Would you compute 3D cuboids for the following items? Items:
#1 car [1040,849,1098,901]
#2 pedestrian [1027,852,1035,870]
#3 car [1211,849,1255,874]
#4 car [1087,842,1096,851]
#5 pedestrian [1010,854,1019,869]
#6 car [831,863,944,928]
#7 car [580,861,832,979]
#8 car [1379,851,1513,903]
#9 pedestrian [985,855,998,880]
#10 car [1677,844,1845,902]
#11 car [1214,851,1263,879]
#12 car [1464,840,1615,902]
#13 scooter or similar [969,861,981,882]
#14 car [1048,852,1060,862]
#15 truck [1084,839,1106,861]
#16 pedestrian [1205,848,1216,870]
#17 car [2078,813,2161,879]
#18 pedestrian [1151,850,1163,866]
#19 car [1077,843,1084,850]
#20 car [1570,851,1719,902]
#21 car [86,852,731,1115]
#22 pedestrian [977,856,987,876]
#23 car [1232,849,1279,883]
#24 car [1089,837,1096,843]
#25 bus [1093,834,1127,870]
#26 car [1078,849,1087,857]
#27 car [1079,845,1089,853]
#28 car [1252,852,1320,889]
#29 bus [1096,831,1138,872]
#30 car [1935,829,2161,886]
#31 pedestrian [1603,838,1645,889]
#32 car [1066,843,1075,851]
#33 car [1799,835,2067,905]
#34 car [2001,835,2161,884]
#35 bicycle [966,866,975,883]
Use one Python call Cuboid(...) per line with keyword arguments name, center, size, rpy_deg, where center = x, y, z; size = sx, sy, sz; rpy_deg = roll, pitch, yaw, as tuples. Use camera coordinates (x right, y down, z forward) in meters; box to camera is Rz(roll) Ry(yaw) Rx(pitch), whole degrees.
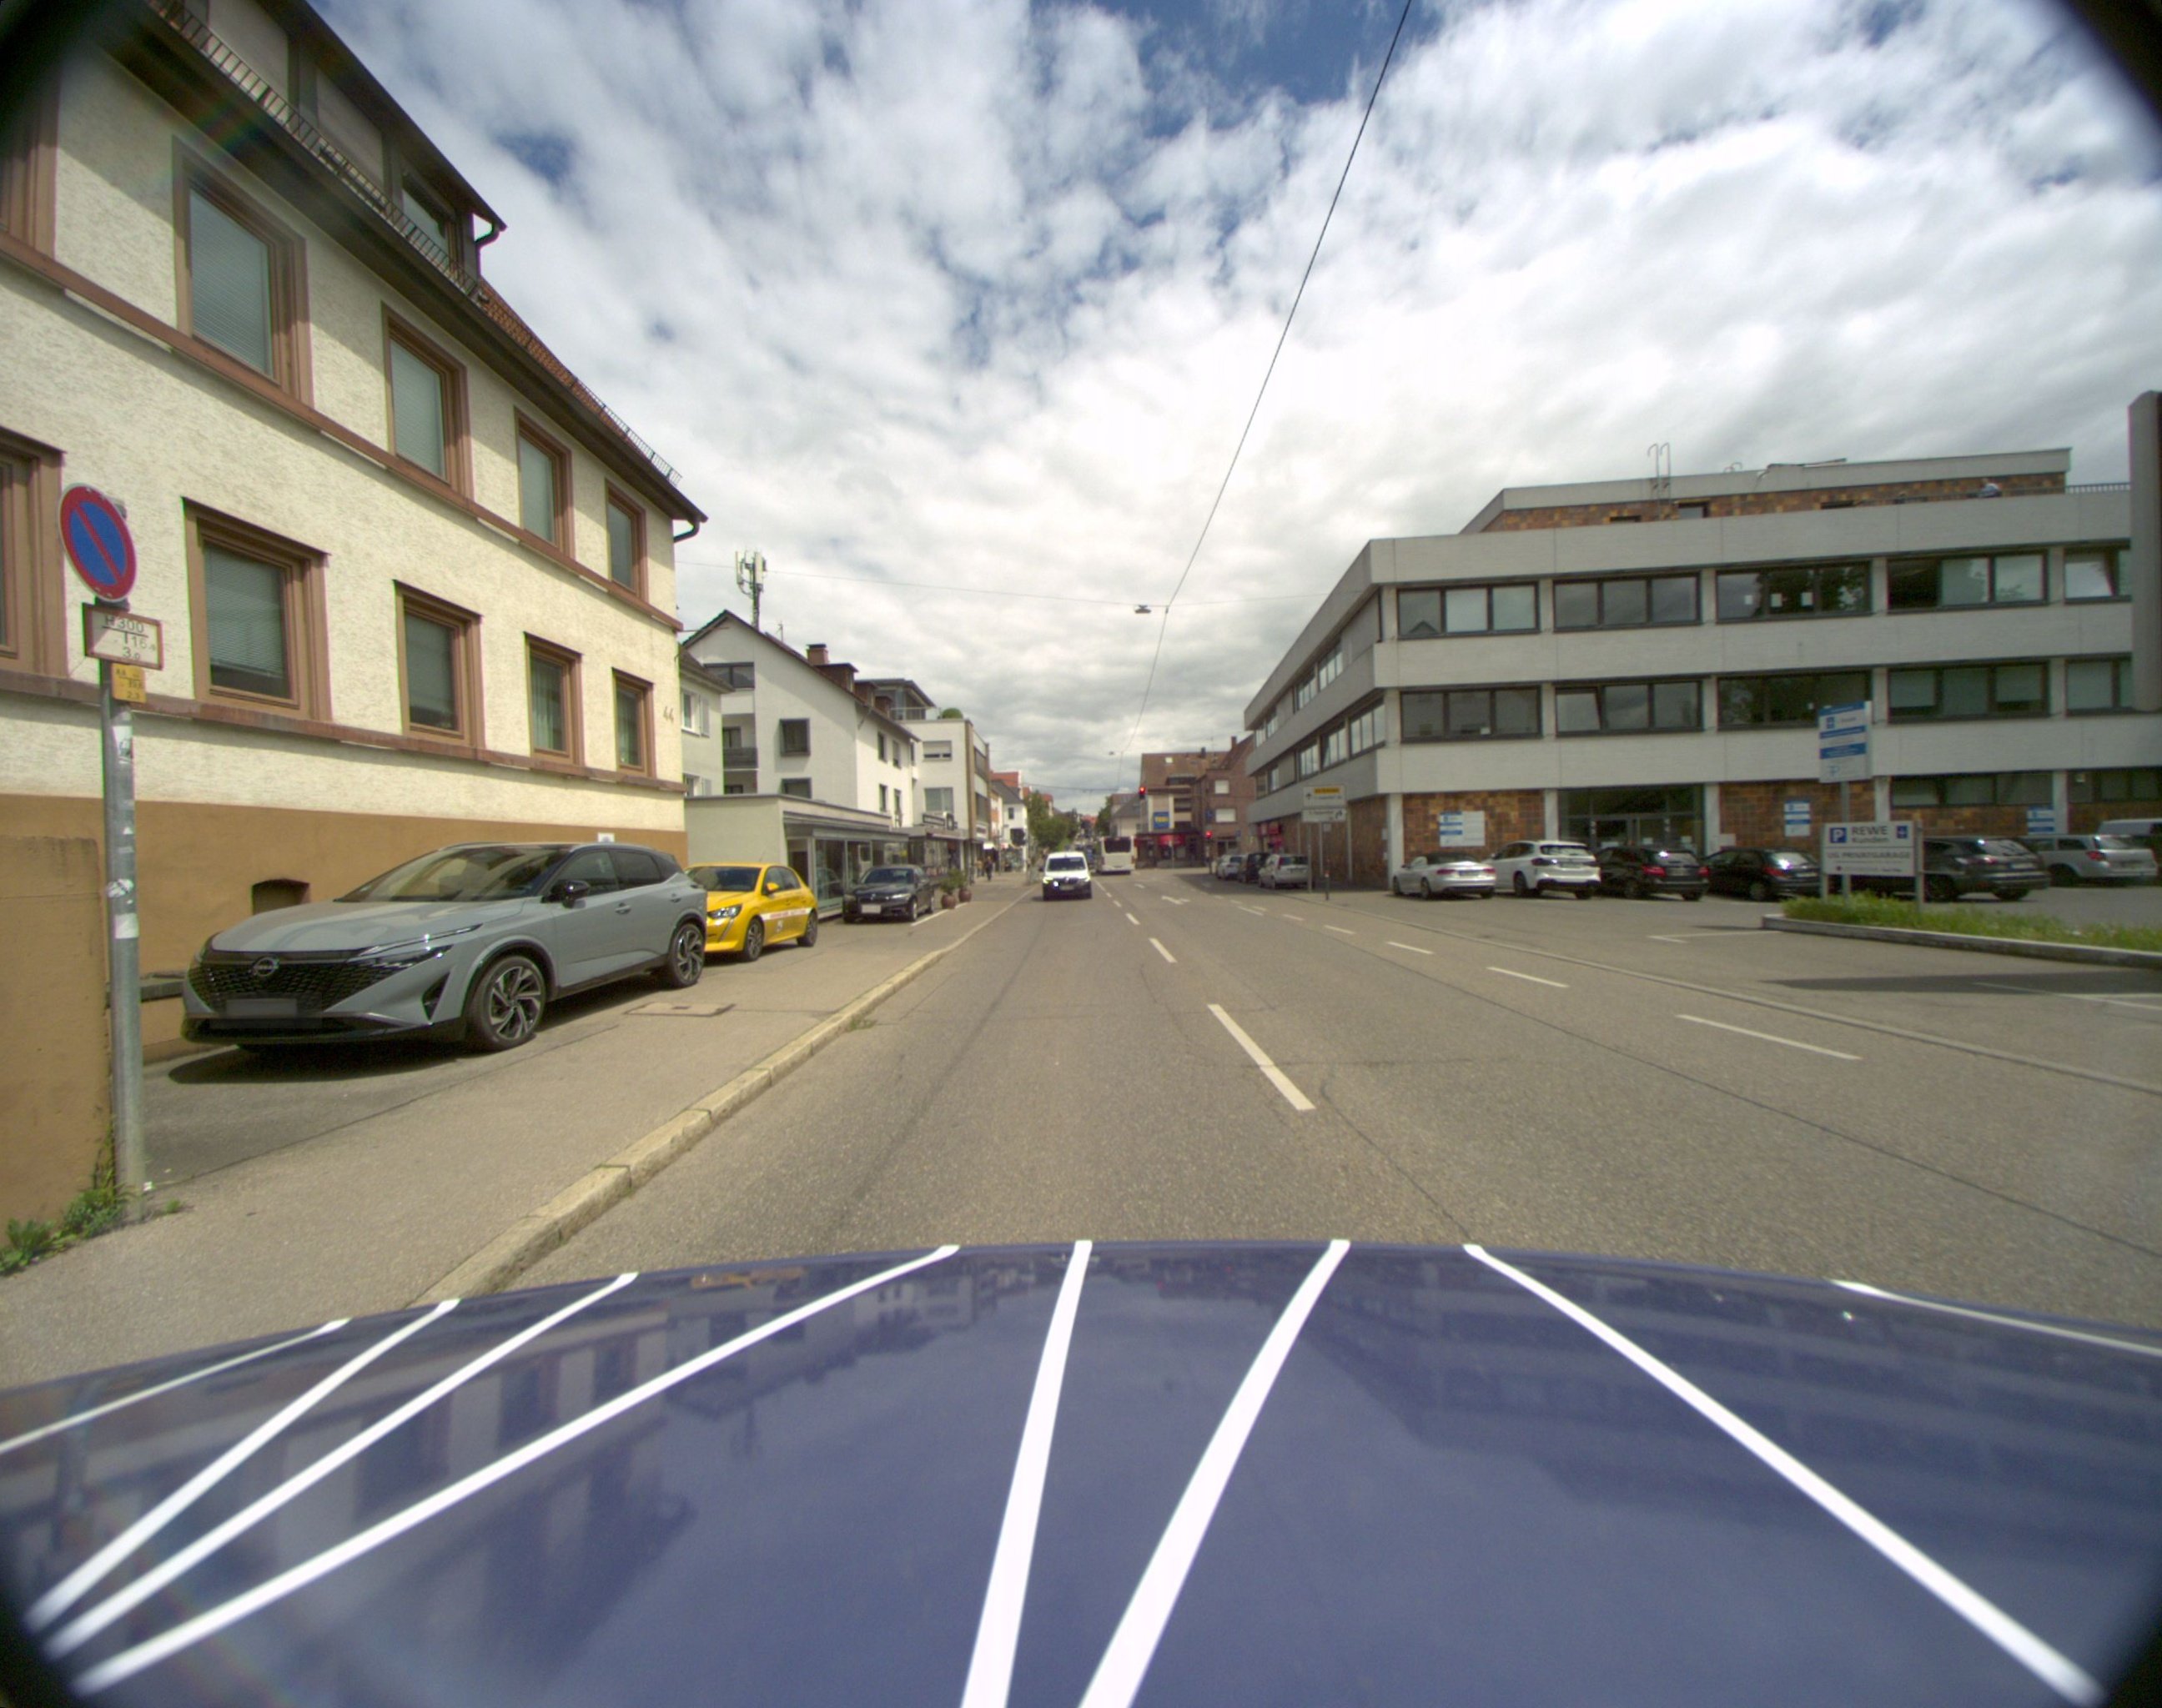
Cuboid(name="car", center=(-0.525, 0.748, 29.605), size=(2.000, 1.797, 4.764), rpy_deg=(-3, 0, -2))
Cuboid(name="pedestrian", center=(-5.249, 0.716, 79.483), size=(0.581, 1.820, 0.882), rpy_deg=(0, 1, 16))
Cuboid(name="car", center=(9.891, 0.481, 49.620), size=(2.049, 1.467, 4.285), rpy_deg=(-3, 0, 1))
Cuboid(name="car", center=(2.629, -1.943, 194.666), size=(2.111, 2.109, 4.765), rpy_deg=(-2, 0, -1))
Cuboid(name="pedestrian", center=(-6.913, 0.792, 78.639), size=(0.779, 1.517, 0.819), rpy_deg=(-1, 0, 2))
Cuboid(name="car", center=(-4.995, 1.018, 20.267), size=(1.973, 1.439, 4.534), rpy_deg=(-1, 0, -2))
Cuboid(name="car", center=(-5.445, 0.911, 11.756), size=(1.882, 1.438, 4.308), rpy_deg=(-1, -2, -2))
Cuboid(name="car", center=(10.874, 0.620, 23.084), size=(1.955, 1.350, 4.856), rpy_deg=(-2, 0, 4))
Cuboid(name="pedestrian", center=(-6.142, 0.907, 52.156), size=(0.797, 1.661, 0.807), rpy_deg=(-1, 1, -1))
Cuboid(name="car", center=(19.712, 0.510, 22.241), size=(1.767, 1.537, 3.605), rpy_deg=(-1, 0, 2))
Cuboid(name="car", center=(9.077, 0.595, 44.182), size=(2.049, 1.436, 4.953), rpy_deg=(-3, 0, 3))
Cuboid(name="car", center=(13.498, 0.459, 22.782), size=(1.955, 1.610, 4.932), rpy_deg=(1, 0, 6))
Cuboid(name="scooter or similar", center=(-6.799, 1.110, 48.739), size=(0.690, 1.260, 1.184), rpy_deg=(-1, 1, -12))
Cuboid(name="car", center=(-4.654, 0.564, 132.627), size=(1.999, 1.654, 4.000), rpy_deg=(-1, 0, 0))
Cuboid(name="truck", center=(2.053, -0.590, 115.071), size=(2.861, 3.075, 8.086), rpy_deg=(-2, 0, -3))
Cuboid(name="pedestrian", center=(9.710, 0.388, 57.031), size=(0.719, 1.635, 0.682), rpy_deg=(-3, 0, 5))
Cuboid(name="car", center=(32.382, -0.265, 21.484), size=(1.972, 1.930, 5.090), rpy_deg=(-2, 0, 6))
Cuboid(name="pedestrian", center=(8.056, 0.418, 80.348), size=(0.908, 1.713, 0.849), rpy_deg=(-2, 1, -42))
Cuboid(name="car", center=(-0.038, -1.944, 197.893), size=(1.819, 1.919, 4.112), rpy_deg=(-1, 0, 0))
Cuboid(name="car", center=(16.343, 0.608, 22.286), size=(1.767, 1.323, 3.605), rpy_deg=(-1, 0, 2))
Cuboid(name="car", center=(-5.180, 0.800, 6.967), size=(1.865, 1.602, 4.585), rpy_deg=(0, 0, -1))
Cuboid(name="pedestrian", center=(-7.544, 0.923, 57.920), size=(0.681, 1.490, 0.720), rpy_deg=(-1, 1, -1))
Cuboid(name="car", center=(8.783, 0.572, 38.417), size=(1.740, 1.547, 3.057), rpy_deg=(-3, 0, 3))
Cuboid(name="car", center=(3.954, -4.911, 263.761), size=(1.982, 1.985, 5.027), rpy_deg=(-1, 0, -2))
Cuboid(name="bus", center=(2.678, -0.216, 72.612), size=(2.689, 3.145, 10.183), rpy_deg=(-1, 0, -1))
Cuboid(name="car", center=(0.348, -0.146, 157.994), size=(1.681, 1.626, 2.833), rpy_deg=(-1, 0, -2))
Cuboid(name="car", center=(0.699, -1.211, 176.421), size=(1.954, 1.866, 4.875), rpy_deg=(-2, 1, -1))
Cuboid(name="car", center=(8.566, 0.649, 32.078), size=(1.726, 1.413, 4.148), rpy_deg=(-3, 0, 1))
Cuboid(name="bus", center=(2.903, -0.191, 63.536), size=(2.723, 3.145, 8.066), rpy_deg=(-1, 0, -2))
Cuboid(name="car", center=(27.656, 0.094, 21.867), size=(1.850, 1.453, 4.001), rpy_deg=(-1, 0, 5))
Cuboid(name="pedestrian", center=(17.930, 0.303, 25.129), size=(0.719, 1.662, 0.995), rpy_deg=(0, 1, 5))
Cuboid(name="car", center=(-2.532, -1.724, 182.205), size=(2.150, 1.747, 3.973), rpy_deg=(-1, 0, 0))
Cuboid(name="car", center=(21.818, 0.373, 19.814), size=(1.926, 1.569, 4.496), rpy_deg=(-1, 0, 0))
Cuboid(name="car", center=(29.763, 0.116, 21.888), size=(1.850, 1.287, 4.001), rpy_deg=(-1, 0, 5))
Cuboid(name="bicycle", center=(-6.716, 1.239, 46.025), size=(0.476, 1.022, 1.634), rpy_deg=(-1, 0, -9))
